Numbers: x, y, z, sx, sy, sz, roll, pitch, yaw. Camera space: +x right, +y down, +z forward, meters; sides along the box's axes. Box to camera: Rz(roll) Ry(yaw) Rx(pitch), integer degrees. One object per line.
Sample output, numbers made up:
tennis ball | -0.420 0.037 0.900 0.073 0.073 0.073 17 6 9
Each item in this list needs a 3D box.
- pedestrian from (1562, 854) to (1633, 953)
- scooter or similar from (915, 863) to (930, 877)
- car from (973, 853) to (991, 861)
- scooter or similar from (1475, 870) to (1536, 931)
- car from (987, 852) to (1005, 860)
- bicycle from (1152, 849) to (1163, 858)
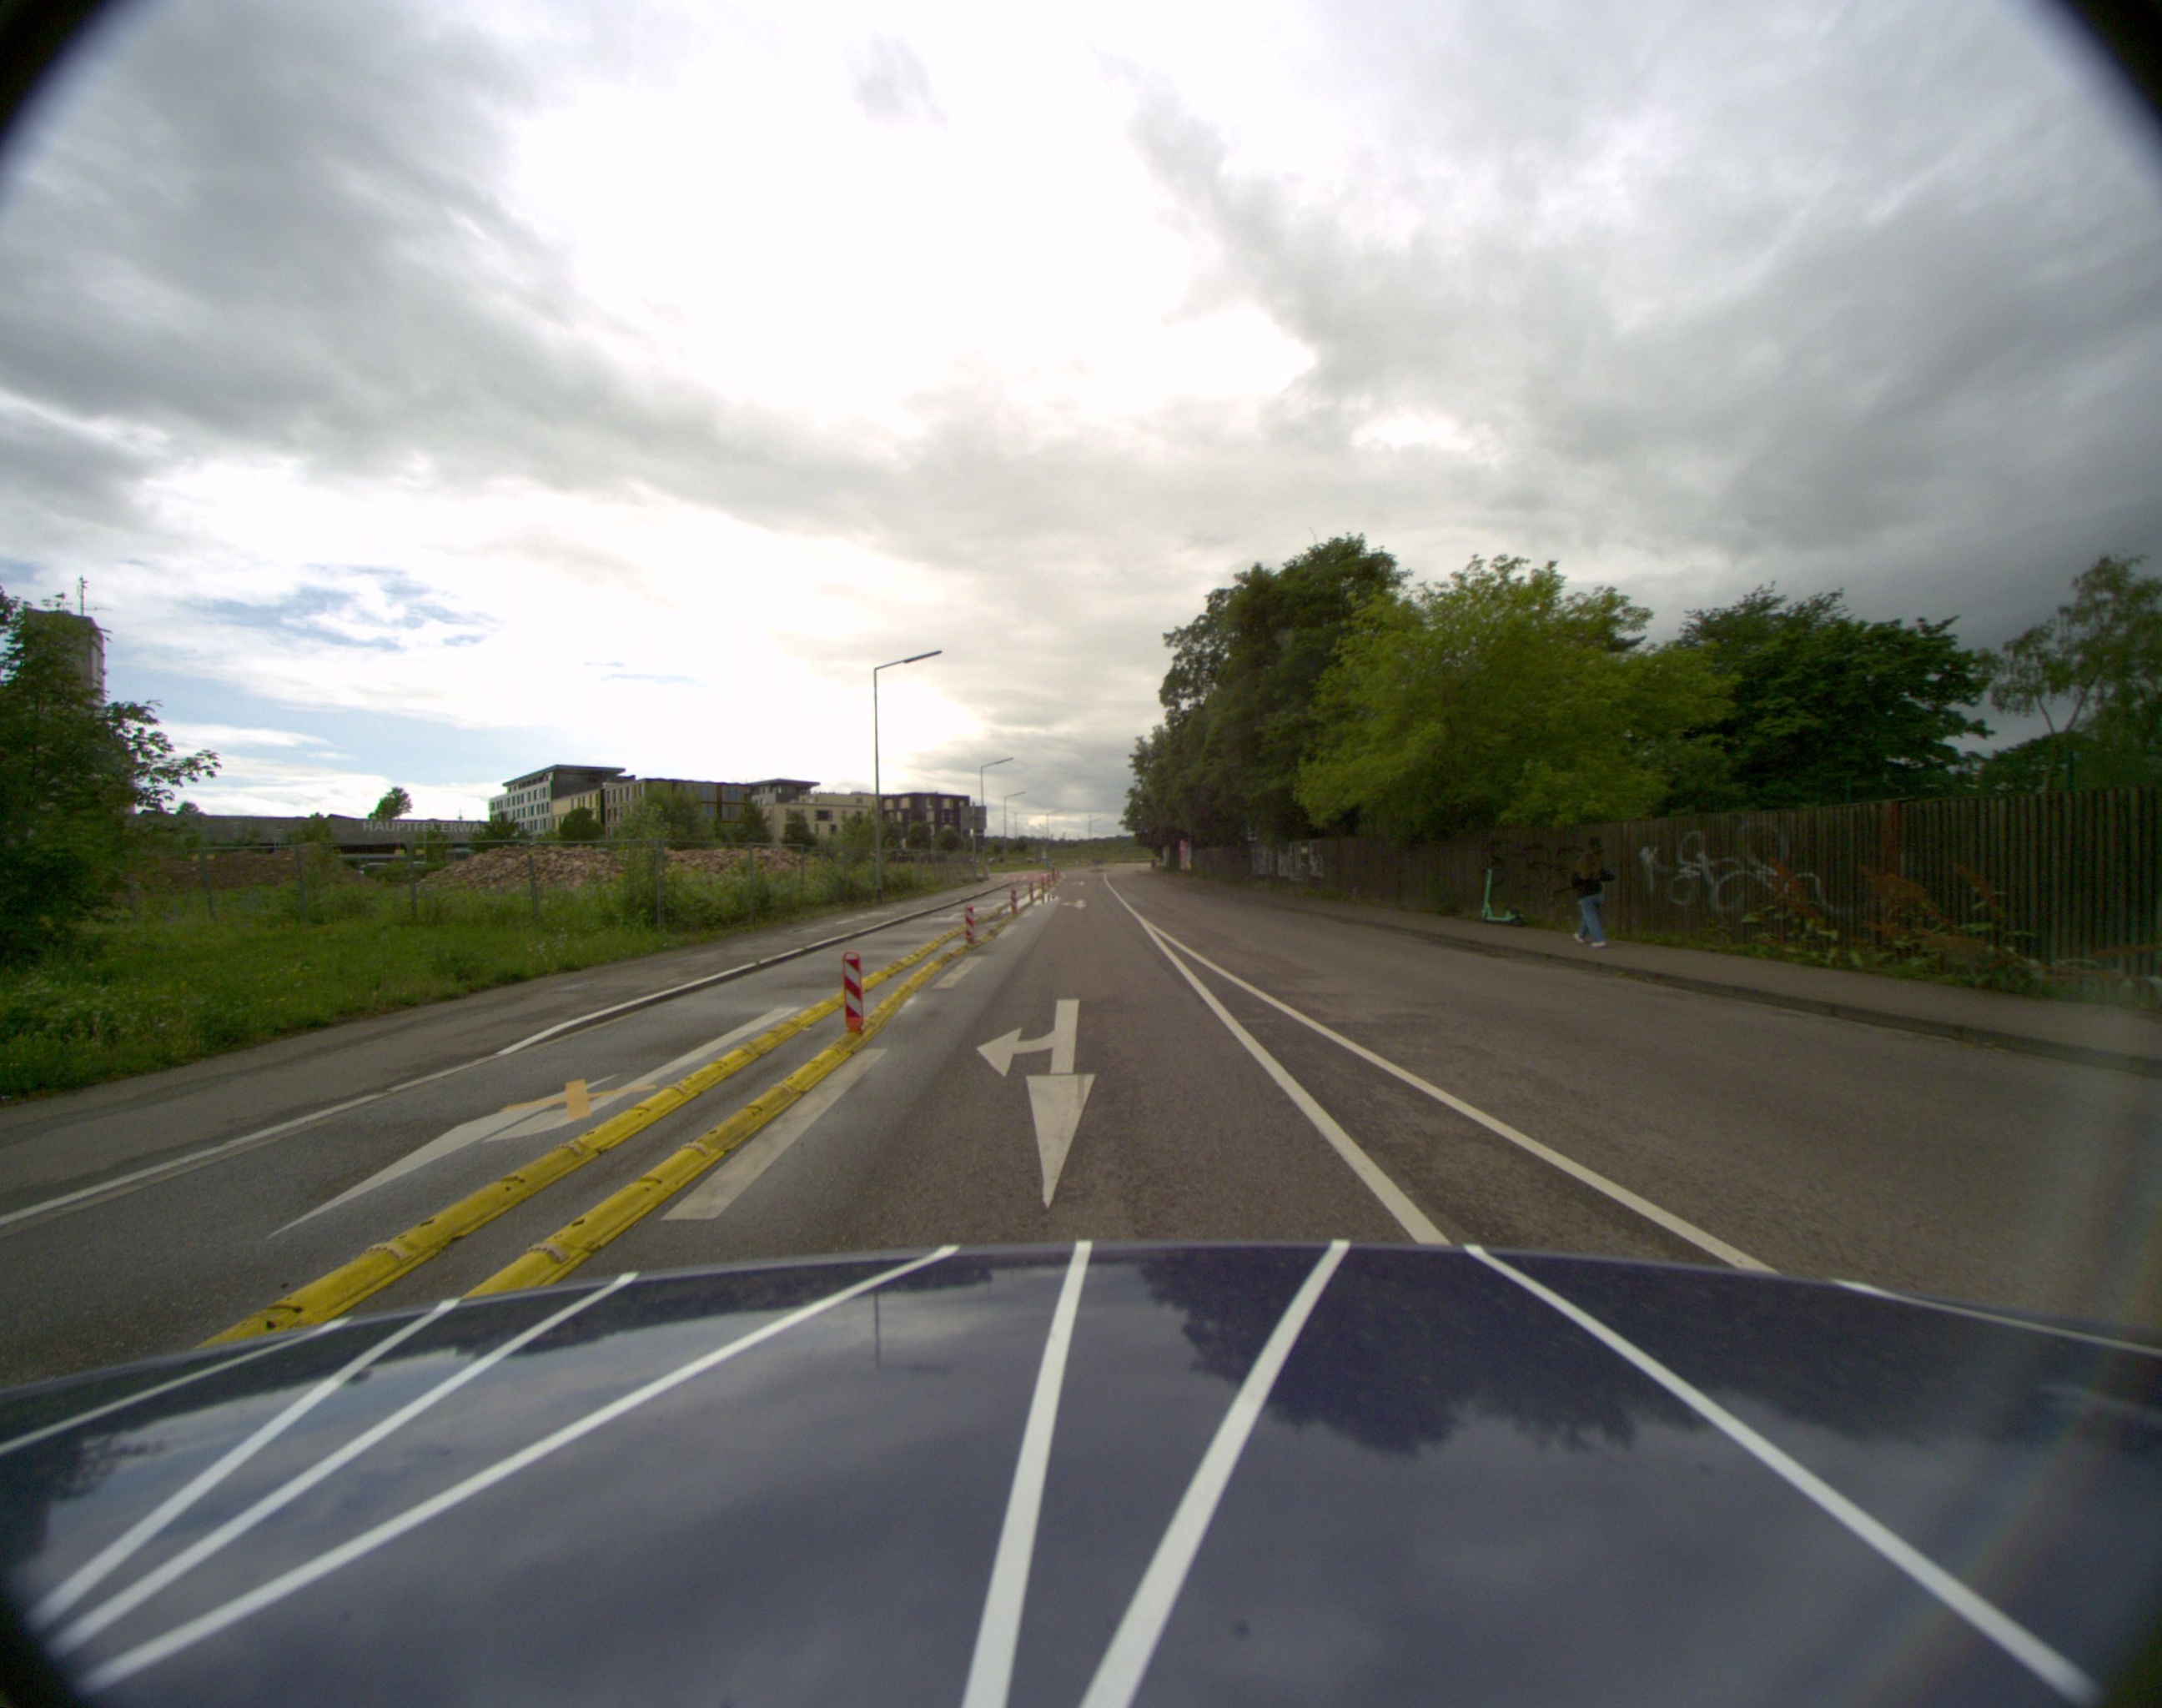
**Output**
pedestrian | 8.228 0.762 12.120 0.614 1.520 0.724 -1 1 -4
scooter or similar | -13.194 1.303 63.182 1.323 1.178 0.447 0 1 41
car | -25.321 0.649 194.544 1.994 2.002 4.008 0 0 42
scooter or similar | 8.614 0.924 15.467 0.424 1.164 1.303 -1 0 -5
car | -21.224 0.595 189.468 1.994 2.002 4.008 0 0 42
bicycle | 9.404 -0.064 93.309 0.582 0.992 1.773 -3 0 28
